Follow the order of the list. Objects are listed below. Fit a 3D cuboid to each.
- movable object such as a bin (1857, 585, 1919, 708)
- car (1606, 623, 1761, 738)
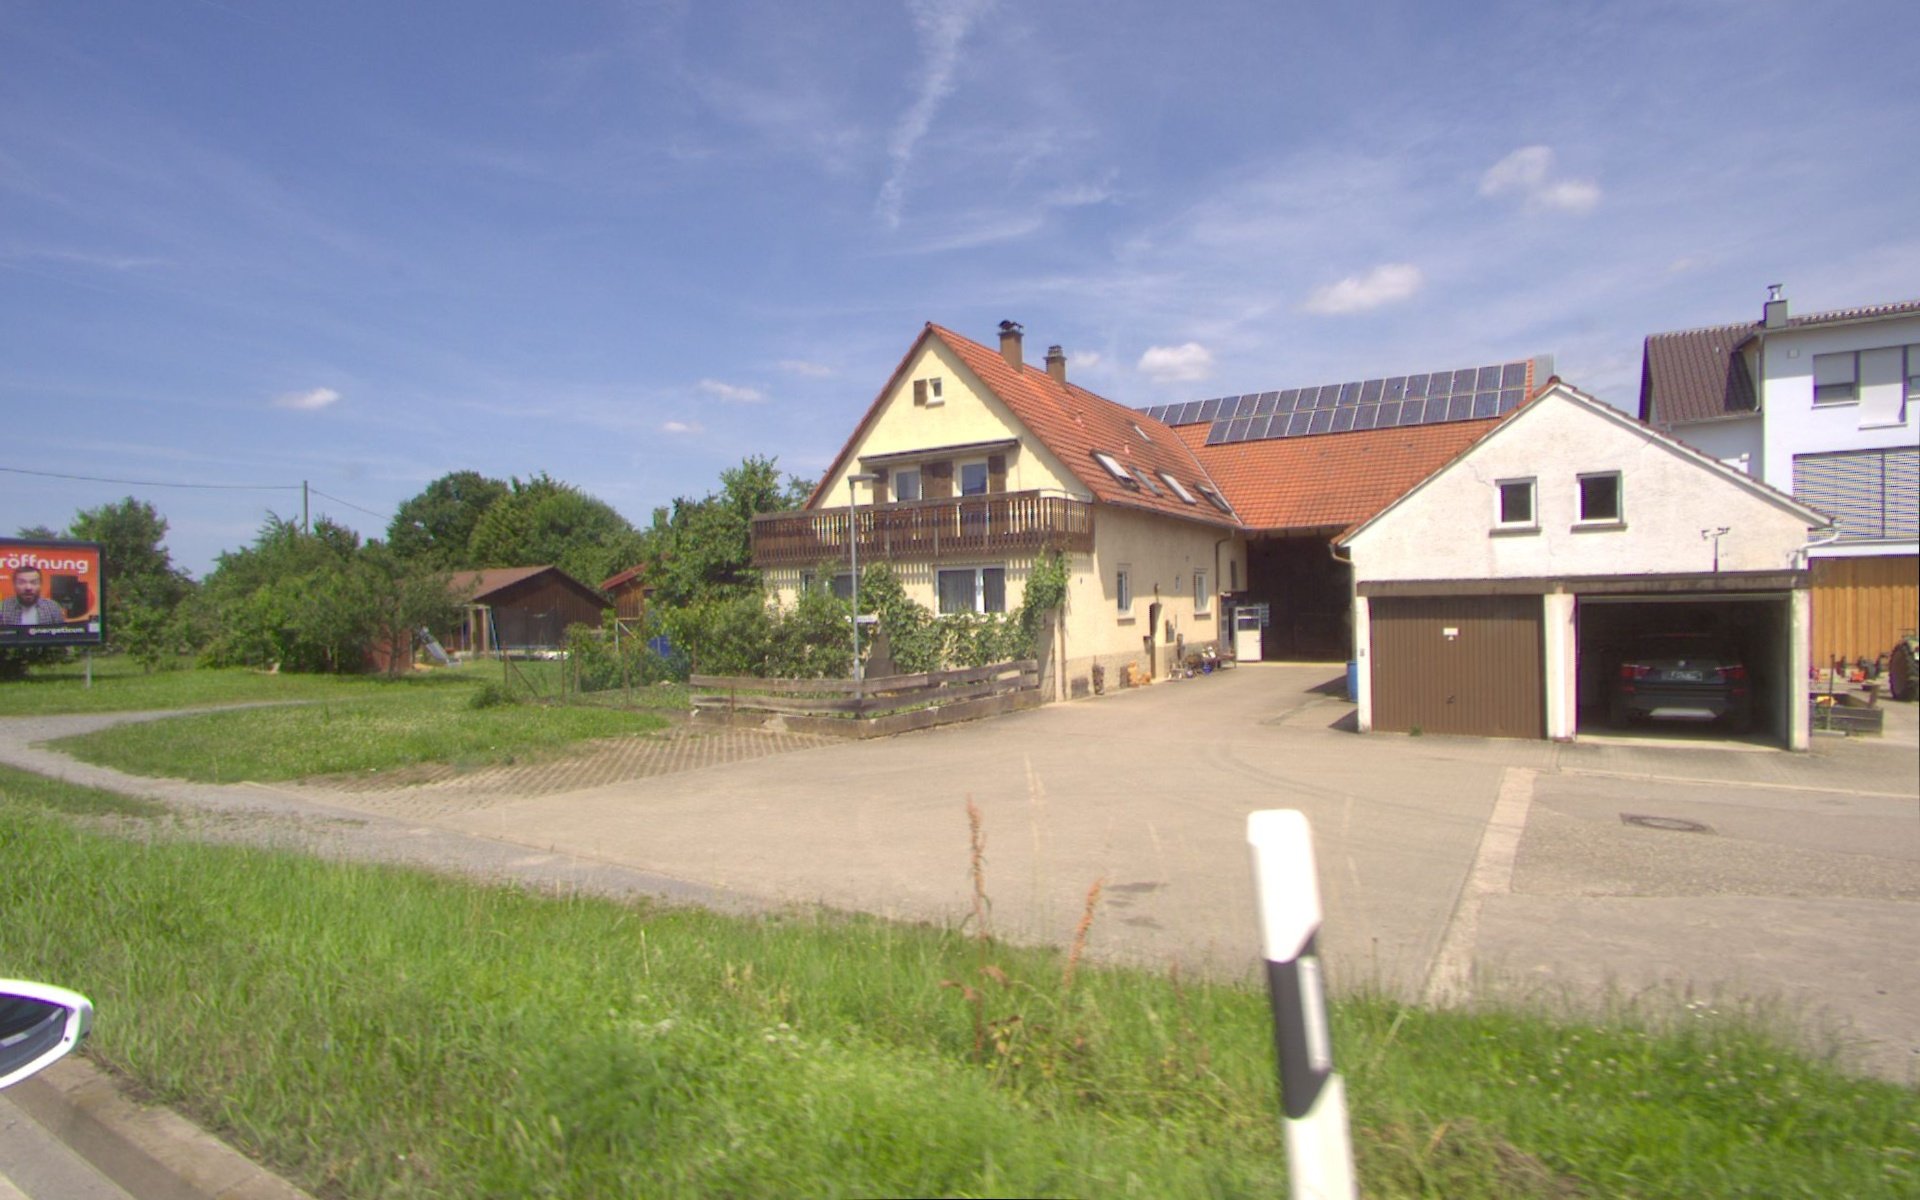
[{"bbox_3d":[20.103,0.890,20.508,2.050,2.375,3.698,1,1,34],"label":"movable object such as a bin"},{"bbox_3d":[12.015,1.245,16.858,1.808,1.599,3.979,-1,-1,32],"label":"car"}]
